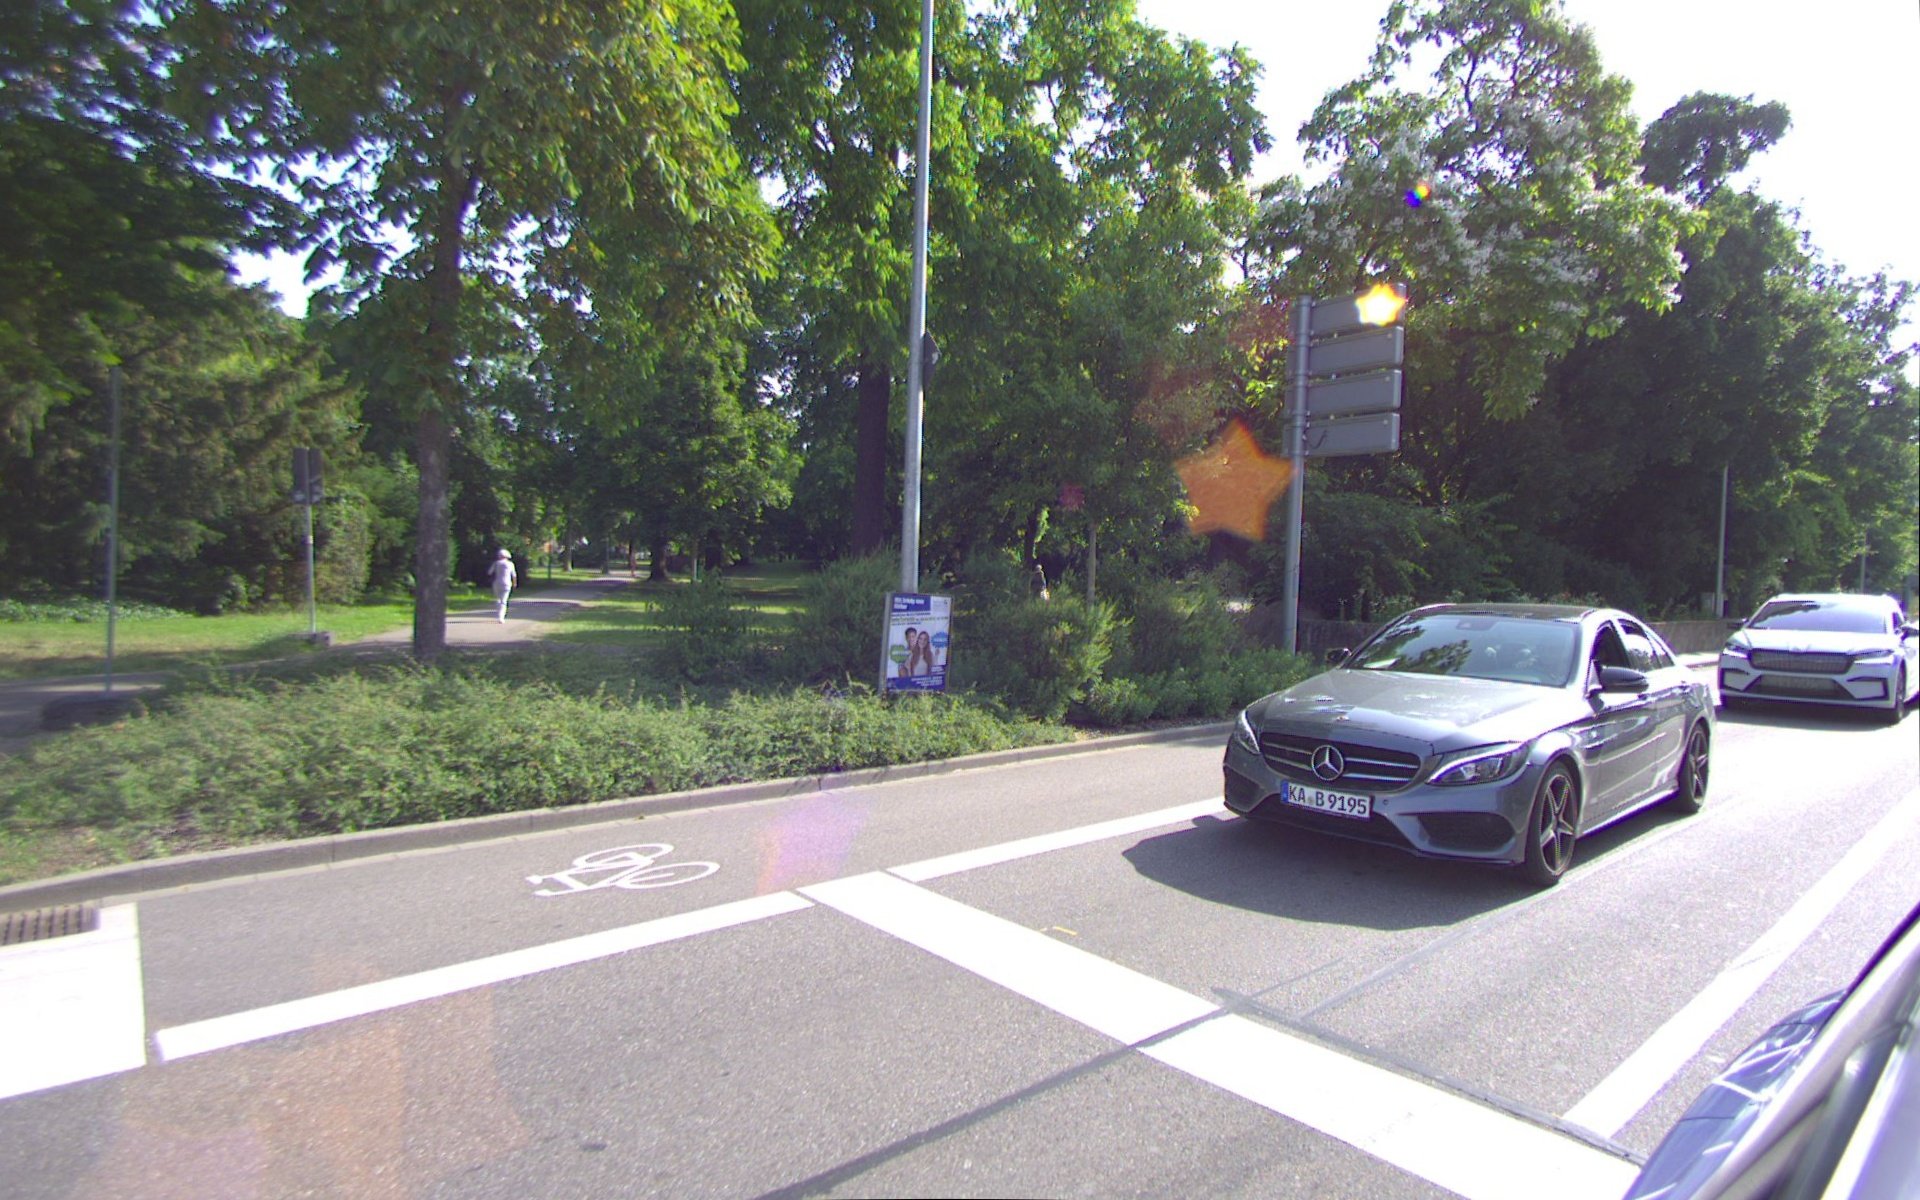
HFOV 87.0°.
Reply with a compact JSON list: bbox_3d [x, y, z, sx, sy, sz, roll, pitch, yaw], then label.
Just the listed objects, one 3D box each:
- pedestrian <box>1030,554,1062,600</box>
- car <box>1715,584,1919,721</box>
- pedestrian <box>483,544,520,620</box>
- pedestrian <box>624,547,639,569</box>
[{"bbox_3d":[3.574,-0.969,42.115,1.048,1.853,0.987,1,2,-10],"label":"pedestrian"},{"bbox_3d":[12.208,0.601,14.032,4.175,1.590,1.896,0,1,-40],"label":"car"},{"bbox_3d":[-9.525,-0.381,21.034,0.523,1.536,0.671,2,2,-8],"label":"pedestrian"},{"bbox_3d":[-21.816,-2.803,67.252,0.749,1.471,0.558,0,2,-41],"label":"pedestrian"}]
